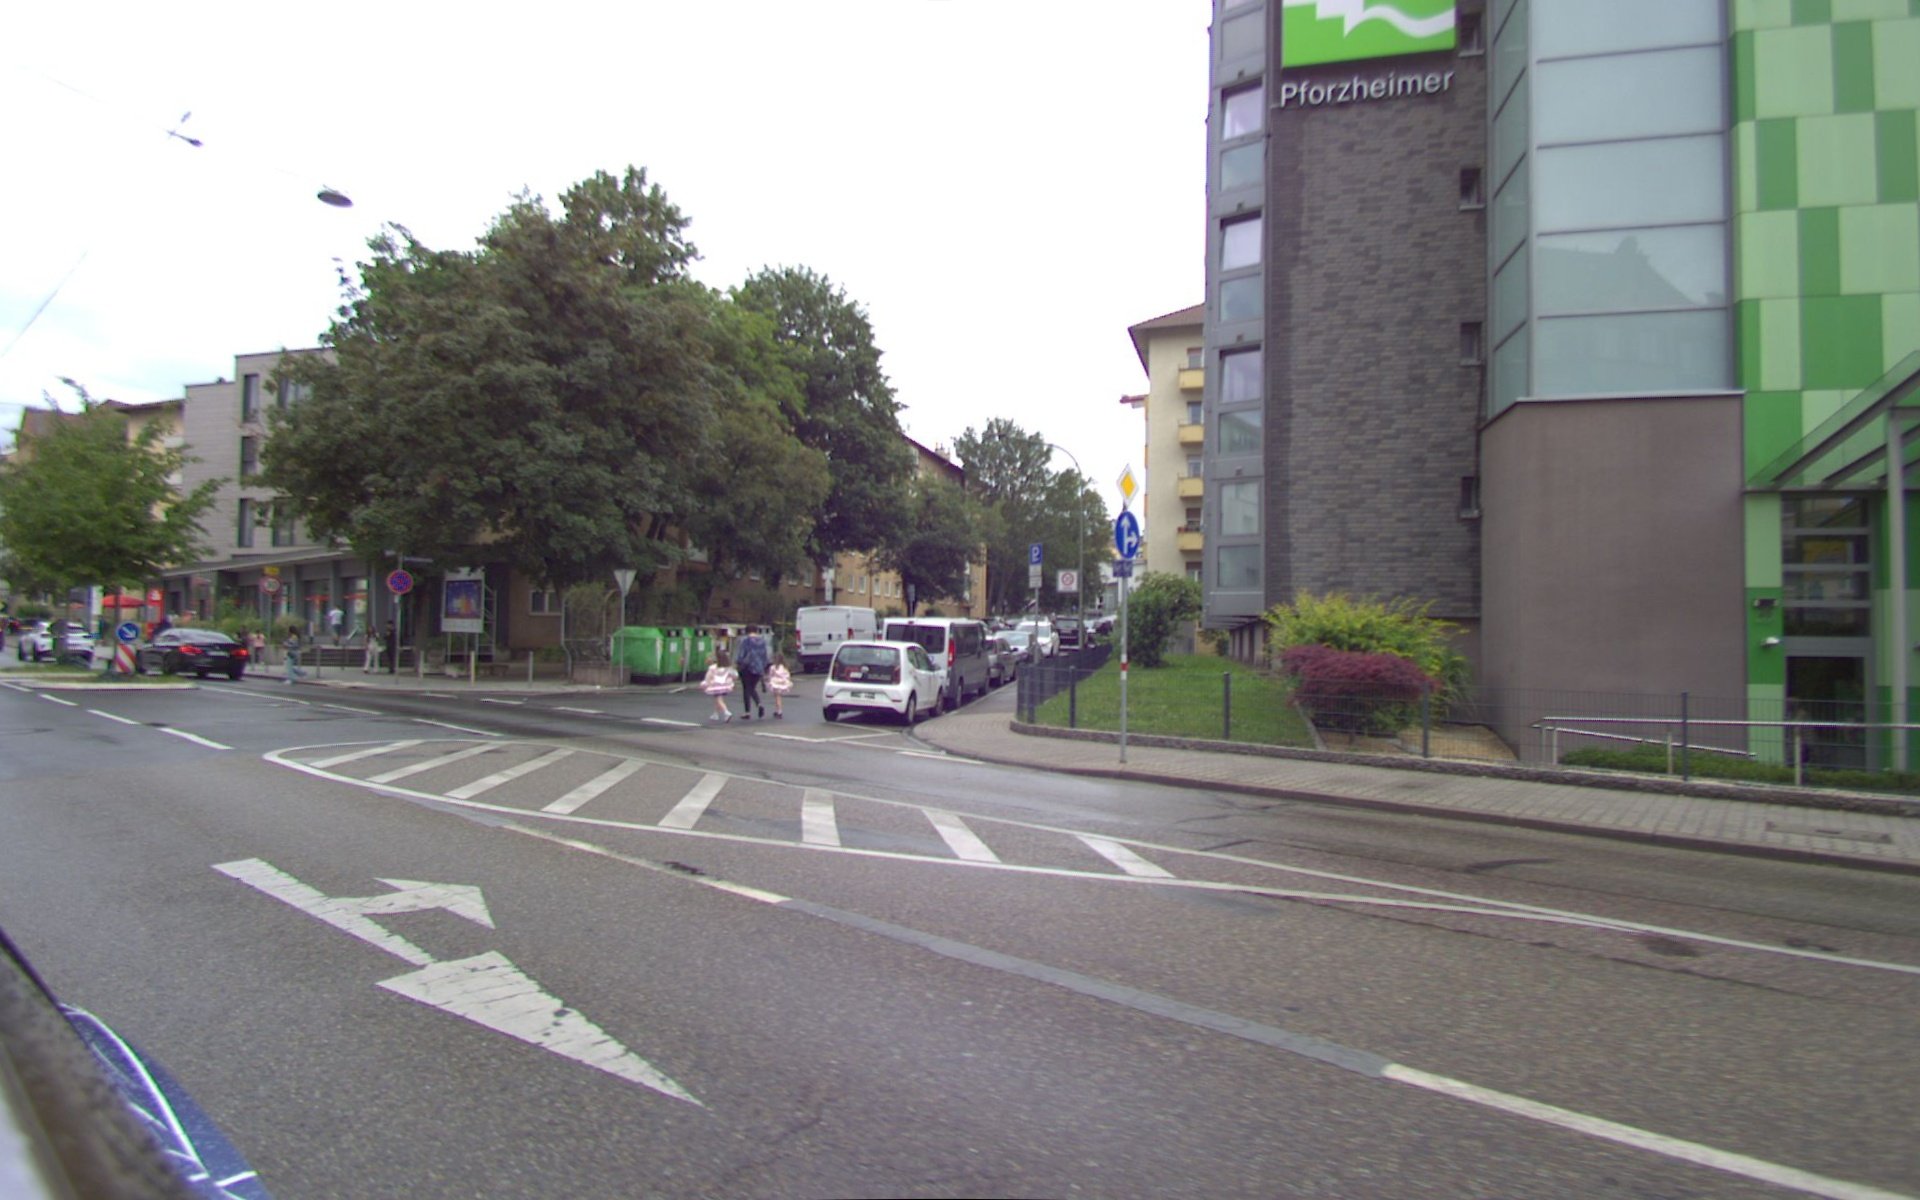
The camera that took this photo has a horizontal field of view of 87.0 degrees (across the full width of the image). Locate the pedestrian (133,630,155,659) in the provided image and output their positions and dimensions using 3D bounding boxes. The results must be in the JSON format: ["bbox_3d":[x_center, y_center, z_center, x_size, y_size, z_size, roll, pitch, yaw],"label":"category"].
[{"bbox_3d":[-40.745,2.196,50.518,0.582,1.431,0.727,1,-2,-15],"label":"pedestrian"}]

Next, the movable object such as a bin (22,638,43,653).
[{"bbox_3d":[-66.039,3.219,72.060,0.805,1.066,0.739,1,-1,15],"label":"movable object such as a bin"}]

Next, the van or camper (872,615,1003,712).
[{"bbox_3d":[-0.398,1.435,24.042,1.980,2.029,4.947,1,-2,12],"label":"van or camper"}]

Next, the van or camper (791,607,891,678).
[{"bbox_3d":[-4.075,1.415,35.452,2.188,2.283,4.602,-1,0,11],"label":"van or camper"}]

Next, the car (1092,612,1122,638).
[{"bbox_3d":[11.687,2.009,80.470,1.981,2.029,3.981,0,-2,14],"label":"car"}]

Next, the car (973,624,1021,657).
[{"bbox_3d":[2.392,2.581,64.435,1.984,2.029,3.974,0,-3,19],"label":"car"}]

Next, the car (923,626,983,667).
[{"bbox_3d":[-0.327,2.448,53.295,1.984,2.029,3.974,0,-3,19],"label":"car"}]

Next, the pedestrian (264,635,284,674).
[{"bbox_3d":[-26.554,2.111,39.168,0.529,1.484,0.455,-1,-2,36],"label":"pedestrian"}]

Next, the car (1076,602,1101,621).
[{"bbox_3d":[14.549,1.286,114.441,1.984,2.029,3.974,0,-3,19],"label":"car"}]

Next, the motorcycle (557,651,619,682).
[{"bbox_3d":[-13.887,2.473,37.812,2.025,0.995,0.798,-1,-1,-35],"label":"motorcycle"}]

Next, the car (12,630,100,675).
[{"bbox_3d":[-35.299,2.021,39.498,4.084,1.581,1.802,-1,-7,39],"label":"car"}]

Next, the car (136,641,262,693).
[{"bbox_3d":[-22.595,1.952,30.001,4.496,1.436,1.993,-2,-4,40],"label":"car"}]

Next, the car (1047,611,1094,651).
[{"bbox_3d":[5.908,1.641,53.641,1.981,2.029,3.981,0,-2,14],"label":"car"}]

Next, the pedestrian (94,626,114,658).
[{"bbox_3d":[-49.004,2.413,57.908,0.867,1.833,0.585,-1,-2,31],"label":"pedestrian"}]

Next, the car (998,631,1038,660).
[{"bbox_3d":[4.287,3.364,74.423,1.984,2.029,3.974,0,-3,19],"label":"car"}]

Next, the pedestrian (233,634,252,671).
[{"bbox_3d":[-27.276,1.987,38.479,0.480,1.421,0.429,-1,-2,36],"label":"pedestrian"}]

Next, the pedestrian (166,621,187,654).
[{"bbox_3d":[-41.437,1.988,53.536,0.713,1.691,0.706,-1,-3,39],"label":"pedestrian"}]

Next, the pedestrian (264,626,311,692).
[{"bbox_3d":[-19.071,1.663,28.710,0.847,1.840,0.719,-1,-2,17],"label":"pedestrian"}]

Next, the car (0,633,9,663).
[{"bbox_3d":[-52.389,2.489,53.839,4.238,1.569,1.936,-1,-4,38],"label":"car"}]

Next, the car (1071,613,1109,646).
[{"bbox_3d":[8.359,1.918,64.782,1.981,2.029,3.981,0,-2,14],"label":"car"}]

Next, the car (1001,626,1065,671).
[{"bbox_3d":[3.026,1.952,41.204,1.981,1.741,3.981,0,-2,14],"label":"car"}]

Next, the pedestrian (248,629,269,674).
[{"bbox_3d":[-26.890,1.969,38.800,0.552,1.686,0.493,-1,-2,36],"label":"pedestrian"}]

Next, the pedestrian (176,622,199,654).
[{"bbox_3d":[-40.375,1.985,52.901,0.701,1.691,0.803,1,-2,-22],"label":"pedestrian"}]

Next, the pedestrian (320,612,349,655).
[{"bbox_3d":[-26.599,1.429,43.053,0.714,1.840,0.720,-1,-2,12],"label":"pedestrian"}]

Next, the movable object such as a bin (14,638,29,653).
[{"bbox_3d":[-66.920,3.247,72.183,0.579,1.066,0.732,0,-2,44],"label":"movable object such as a bin"}]

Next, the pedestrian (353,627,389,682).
[{"bbox_3d":[-19.339,1.779,33.238,0.715,1.772,0.653,0,-2,17],"label":"pedestrian"}]

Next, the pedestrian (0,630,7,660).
[{"bbox_3d":[-65.339,3.045,68.775,0.781,2.029,0.695,0,-2,36],"label":"pedestrian"}]

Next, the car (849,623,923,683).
[{"bbox_3d":[-2.940,2.147,41.253,1.979,2.273,3.984,0,-3,12],"label":"car"}]

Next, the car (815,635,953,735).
[{"bbox_3d":[-1.321,1.534,19.135,1.722,1.581,3.578,3,-2,9],"label":"car"}]

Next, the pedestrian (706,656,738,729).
[{"bbox_3d":[-4.041,1.563,17.175,0.310,1.207,0.405,-1,-3,33],"label":"pedestrian"}]

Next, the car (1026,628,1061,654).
[{"bbox_3d":[6.810,3.352,82.151,1.984,2.029,3.974,0,-3,19],"label":"car"}]

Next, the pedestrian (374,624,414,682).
[{"bbox_3d":[-18.551,1.726,33.160,0.690,1.859,0.855,0,-3,25],"label":"pedestrian"}]

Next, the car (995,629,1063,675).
[{"bbox_3d":[2.462,1.785,35.315,1.678,1.475,3.981,0,-2,14],"label":"car"}]

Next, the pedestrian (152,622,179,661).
[{"bbox_3d":[-37.538,1.964,47.823,0.717,1.840,0.718,-1,-2,21],"label":"pedestrian"}]

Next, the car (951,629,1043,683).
[{"bbox_3d":[1.158,1.604,29.708,1.981,1.454,3.711,0,-2,14],"label":"car"}]

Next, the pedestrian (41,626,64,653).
[{"bbox_3d":[-57.973,2.535,64.662,0.755,1.722,0.789,-1,-1,15],"label":"pedestrian"}]

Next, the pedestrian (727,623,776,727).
[{"bbox_3d":[-3.635,1.299,17.690,0.579,1.775,0.569,-1,-3,34],"label":"pedestrian"}]

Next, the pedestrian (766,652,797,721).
[{"bbox_3d":[-3.209,1.548,18.176,0.358,1.207,0.405,-1,-3,33],"label":"pedestrian"}]
